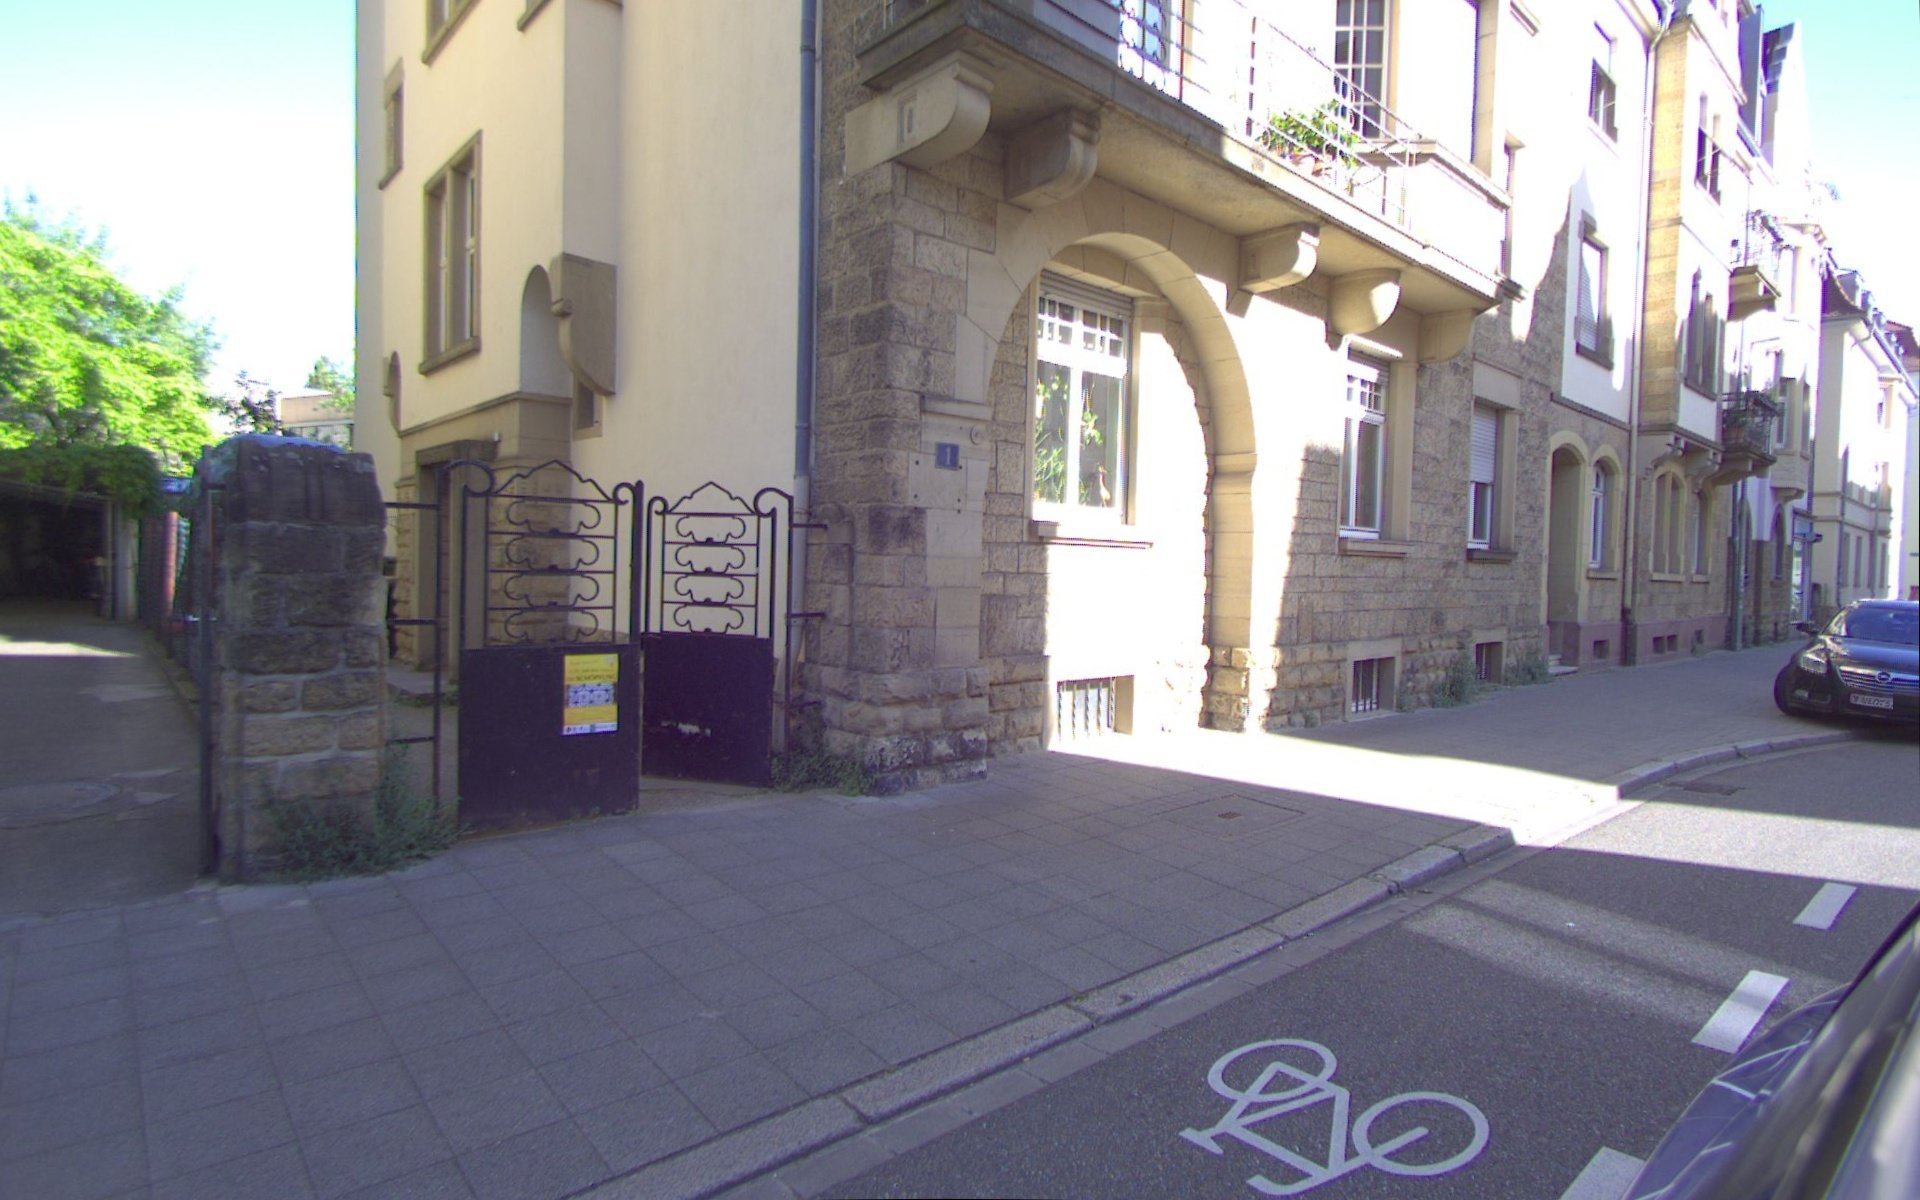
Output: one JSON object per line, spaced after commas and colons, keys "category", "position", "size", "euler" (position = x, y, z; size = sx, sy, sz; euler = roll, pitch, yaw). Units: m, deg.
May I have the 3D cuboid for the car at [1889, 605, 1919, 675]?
{"category": "car", "position": [19.383, 0.756, 19.653], "size": [3.875, 1.270, 1.695], "euler": [0, 1, -43]}

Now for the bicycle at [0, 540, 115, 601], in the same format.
{"category": "bicycle", "position": [-18.360, -0.609, 20.458], "size": [2.834, 1.124, 0.865], "euler": [3, 2, 25]}

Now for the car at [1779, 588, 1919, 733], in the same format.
{"category": "car", "position": [11.537, 0.643, 12.256], "size": [4.265, 1.480, 1.869], "euler": [0, 3, -42]}

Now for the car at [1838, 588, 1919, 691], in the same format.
{"category": "car", "position": [15.424, 0.581, 16.151], "size": [4.186, 1.460, 1.654], "euler": [0, 3, -43]}

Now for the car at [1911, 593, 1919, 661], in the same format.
{"category": "car", "position": [22.416, 0.603, 22.466], "size": [1.787, 1.447, 3.746], "euler": [3, 2, 44]}
